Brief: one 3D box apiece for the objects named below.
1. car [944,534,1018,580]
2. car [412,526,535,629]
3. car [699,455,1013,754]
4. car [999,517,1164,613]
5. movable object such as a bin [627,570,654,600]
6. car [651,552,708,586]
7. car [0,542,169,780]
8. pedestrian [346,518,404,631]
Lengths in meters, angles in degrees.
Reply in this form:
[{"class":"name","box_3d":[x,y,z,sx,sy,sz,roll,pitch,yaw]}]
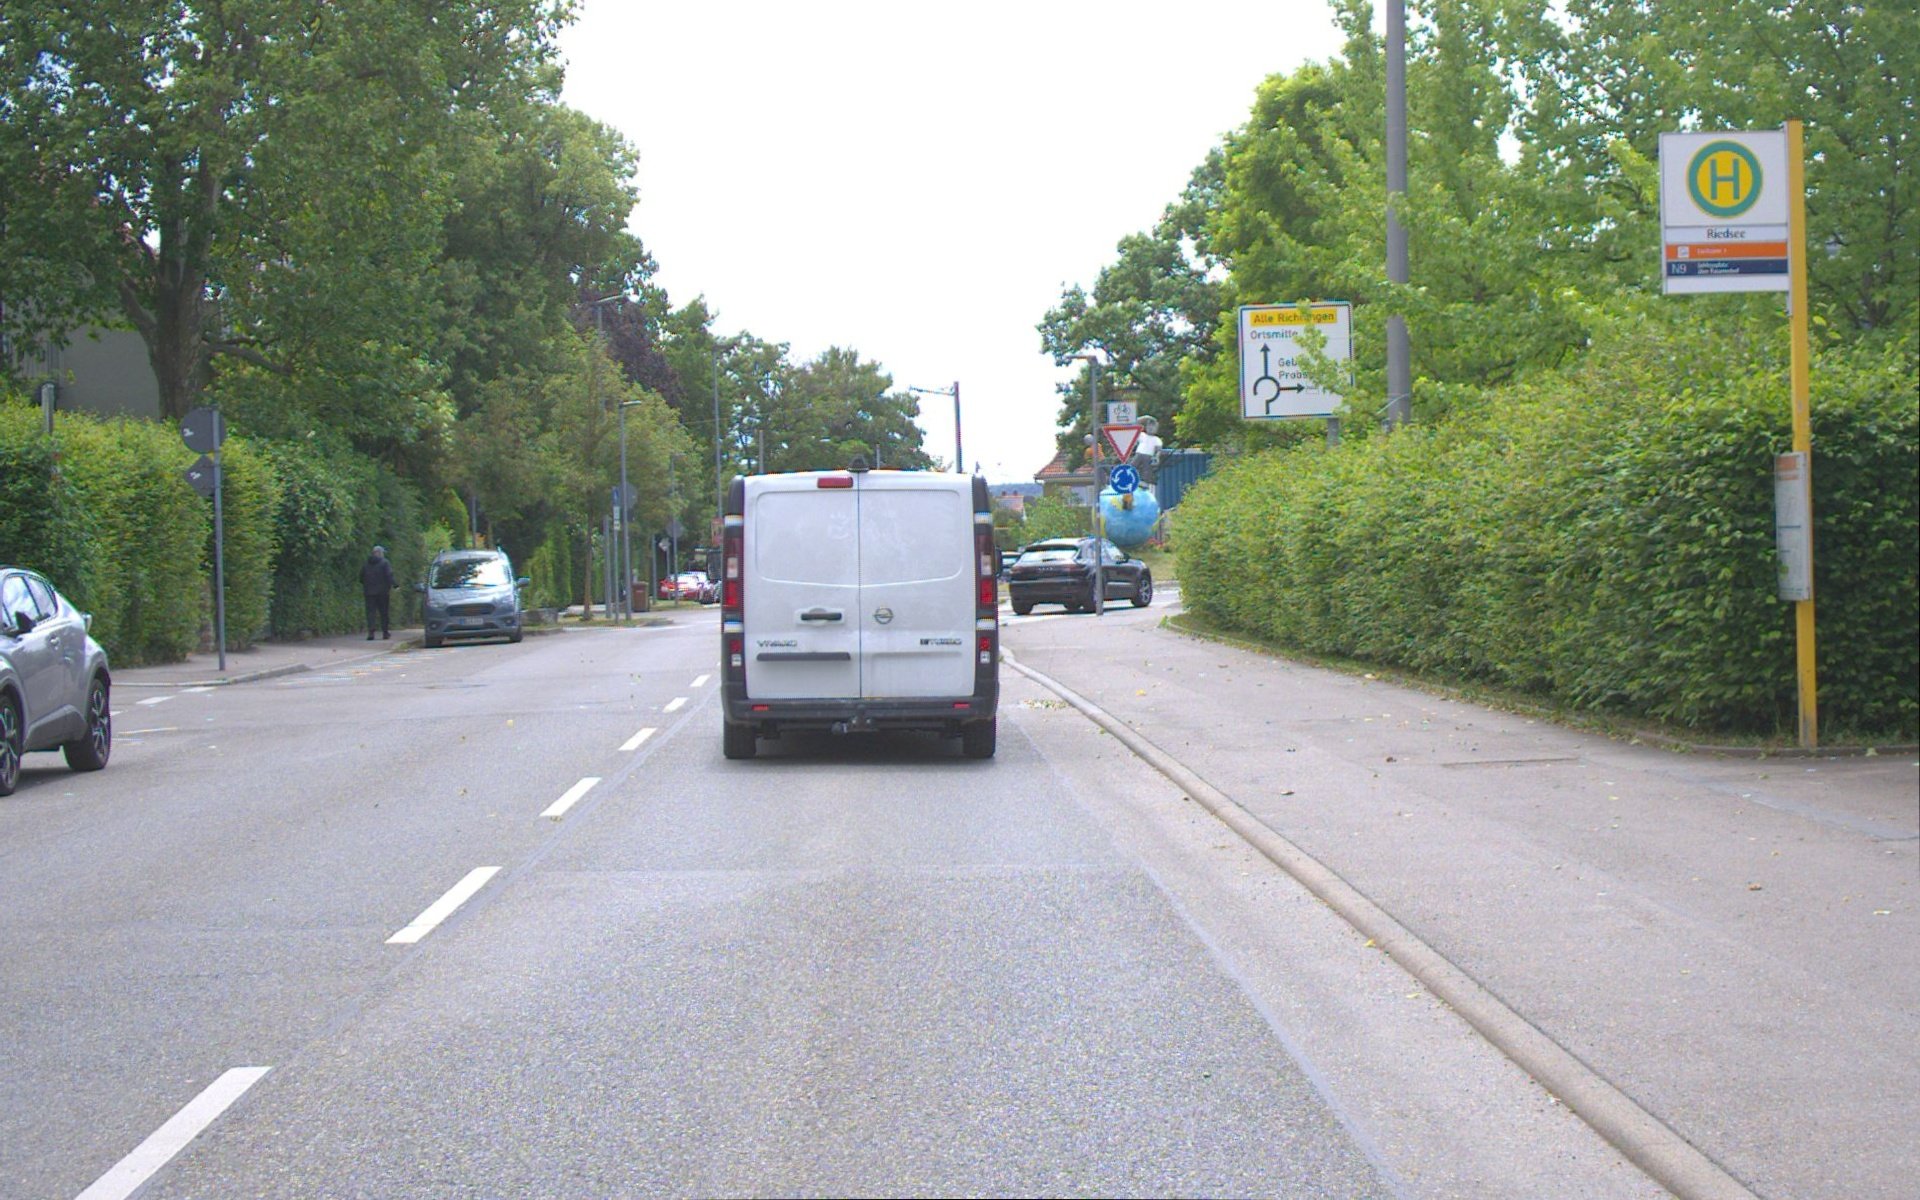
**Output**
[{"class":"car","box_3d":[0.754,-1.589,126.107,1.932,1.532,3.926,-2,2,-11]},{"class":"car","box_3d":[-8.876,-0.448,62.562,2.131,1.766,4.466,0,2,-9]},{"class":"car","box_3d":[-0.746,-0.040,24.781,2.034,1.938,4.994,0,2,-2]},{"class":"car","box_3d":[2.682,-0.796,75.150,1.997,2.007,3.994,1,2,29]},{"class":"movable object such as a bin","box_3d":[-9.740,-0.464,104.744,0.630,0.860,0.640,-3,1,9]},{"class":"car","box_3d":[-12.434,-1.376,152.044,2.062,1.381,4.049,-2,2,-11]},{"class":"car","box_3d":[-7.082,0.405,23.759,1.993,1.474,4.647,-3,1,1]},{"class":"pedestrian","box_3d":[-10.698,-0.465,62.890,0.871,2.007,1.041,-3,1,-5]}]
